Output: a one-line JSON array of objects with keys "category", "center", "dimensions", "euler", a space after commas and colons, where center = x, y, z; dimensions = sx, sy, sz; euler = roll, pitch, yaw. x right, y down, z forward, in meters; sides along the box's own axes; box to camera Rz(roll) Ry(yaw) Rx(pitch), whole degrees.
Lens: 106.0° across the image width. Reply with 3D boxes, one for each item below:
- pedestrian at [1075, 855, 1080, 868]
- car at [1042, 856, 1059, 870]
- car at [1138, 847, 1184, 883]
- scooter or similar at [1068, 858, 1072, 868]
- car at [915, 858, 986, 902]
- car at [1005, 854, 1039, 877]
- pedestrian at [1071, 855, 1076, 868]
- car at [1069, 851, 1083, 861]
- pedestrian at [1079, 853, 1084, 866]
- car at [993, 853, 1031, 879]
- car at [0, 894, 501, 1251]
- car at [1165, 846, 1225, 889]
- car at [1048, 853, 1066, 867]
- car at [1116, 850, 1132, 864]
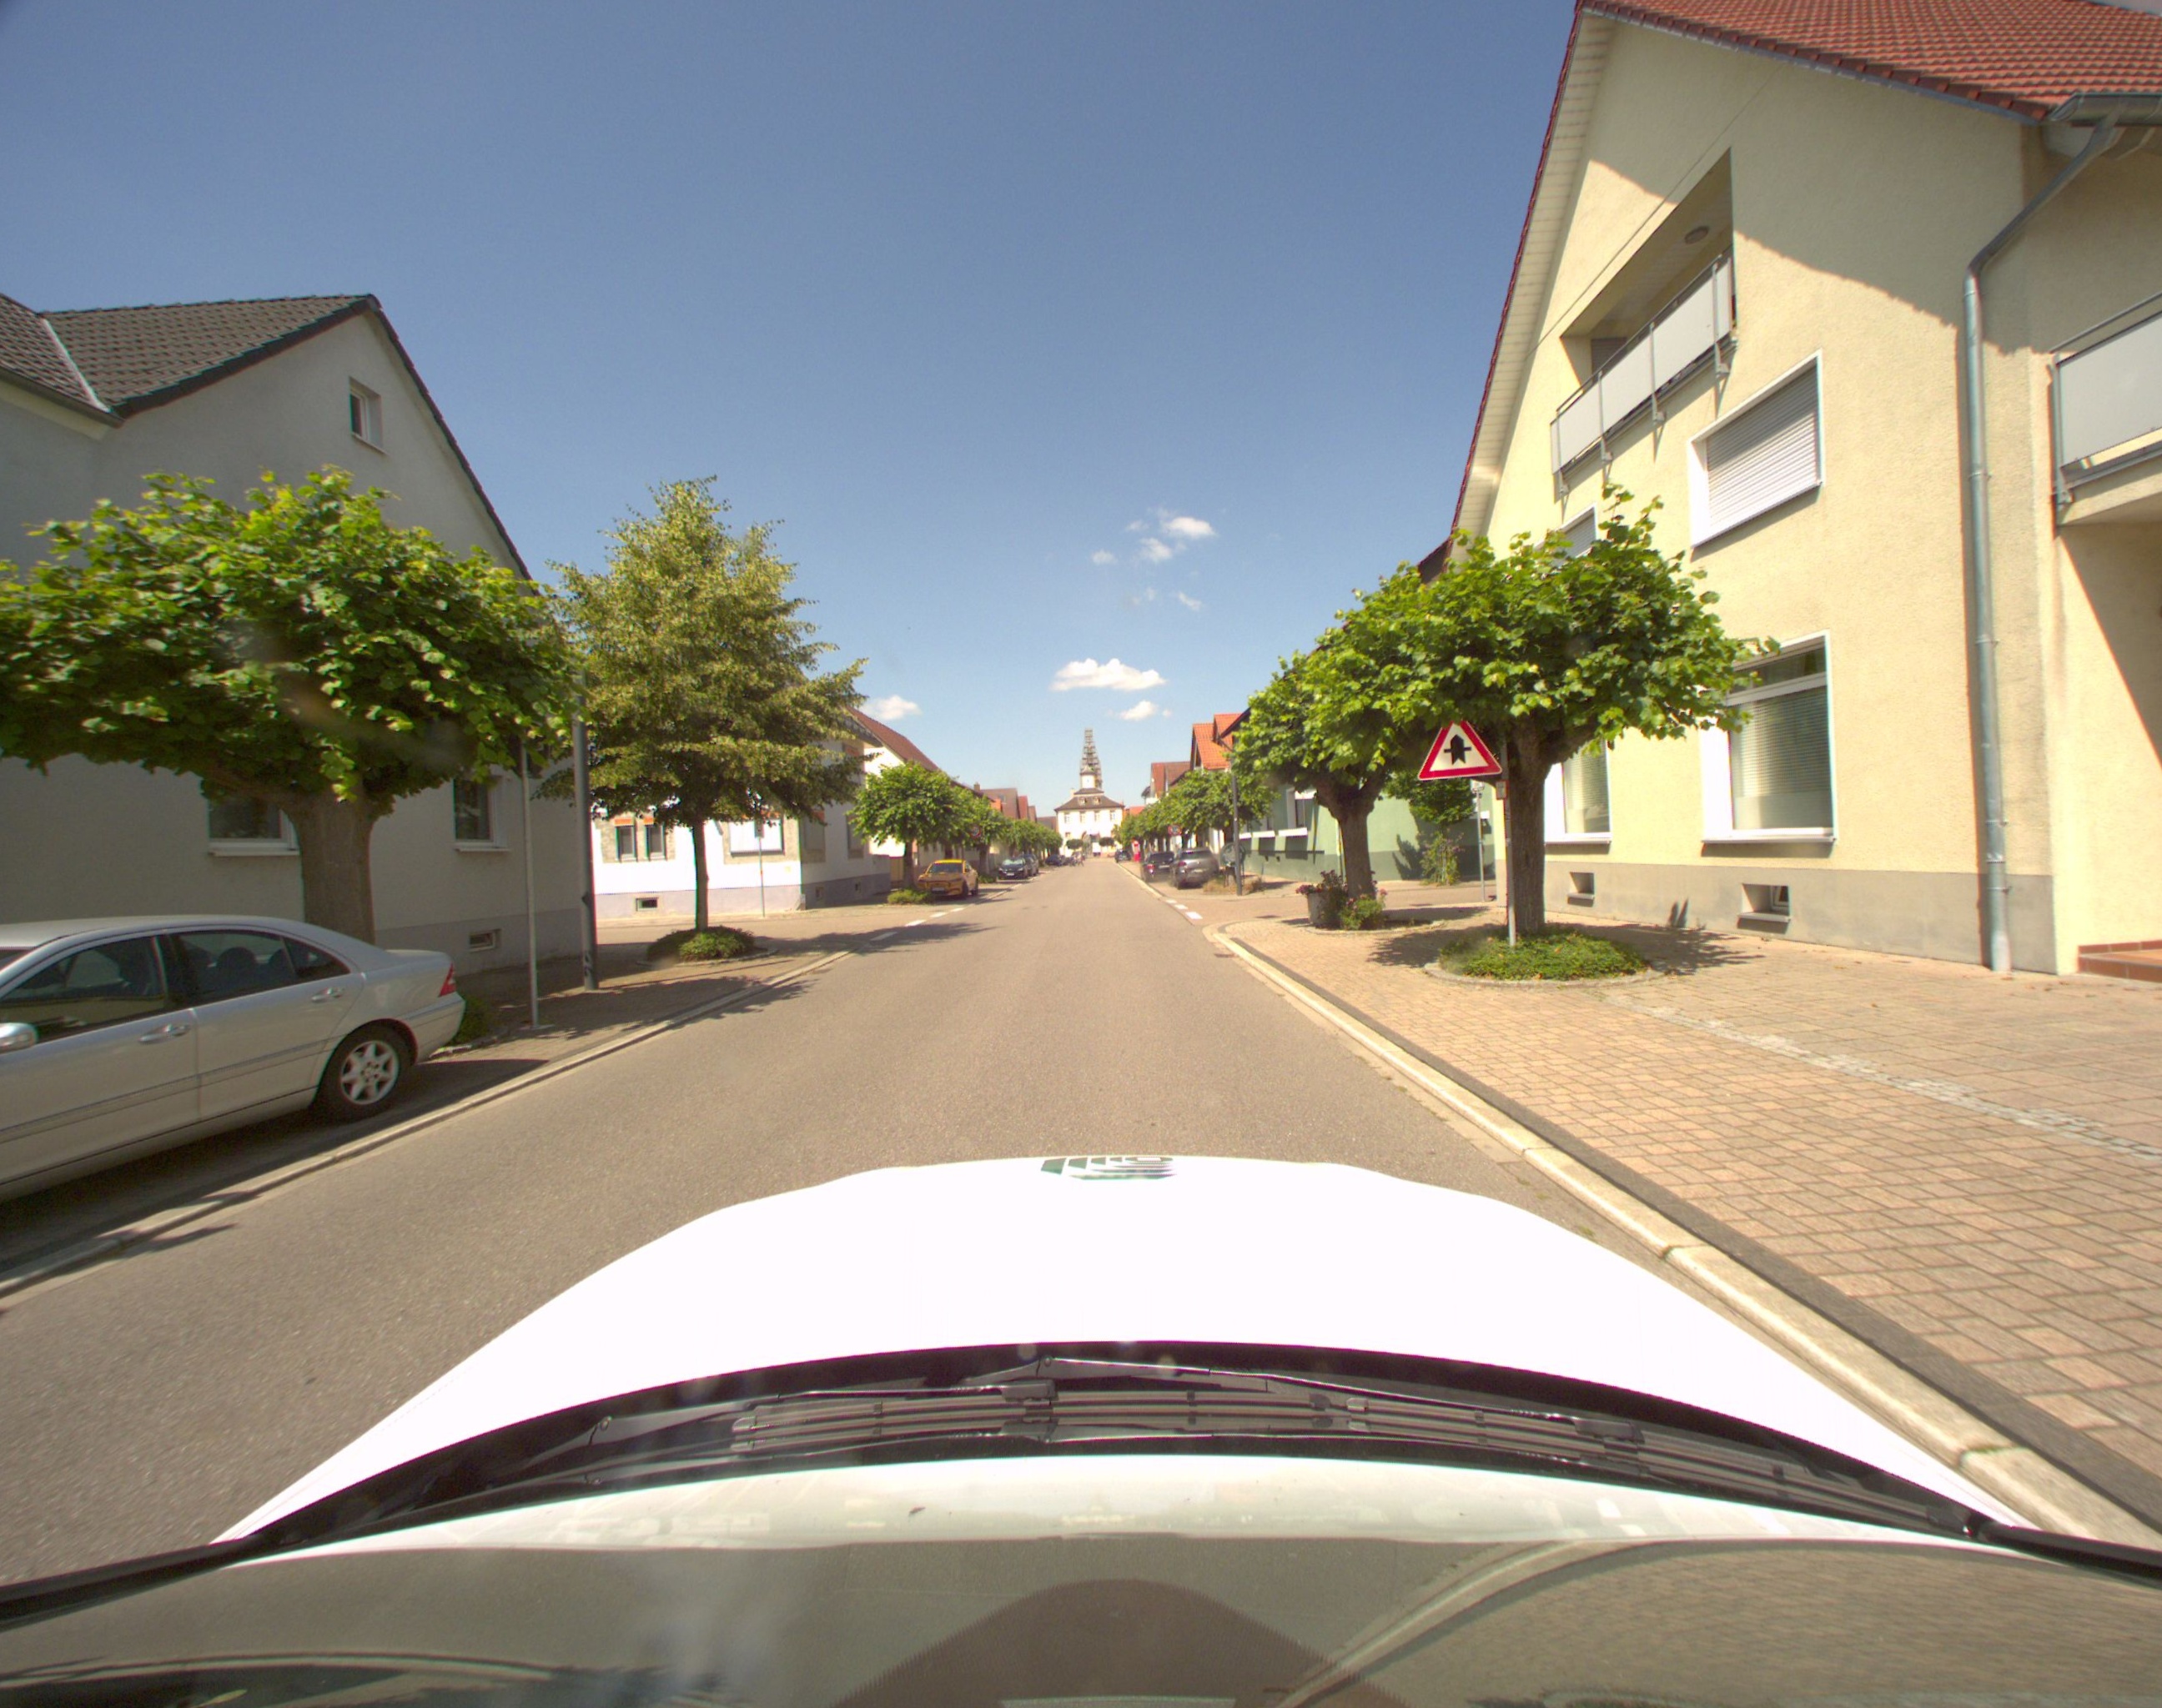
[{"category": "pedestrian", "center": [-0.393, 0.799, 89.977], "dimensions": [0.354, 1.403, 0.322], "euler": [-3, 0, 38]}, {"category": "car", "center": [-3.637, 1.041, 98.323], "dimensions": [1.751, 1.555, 4.021], "euler": [-3, 0, 2]}, {"category": "car", "center": [3.984, 0.533, 41.093], "dimensions": [1.831, 1.555, 4.314], "euler": [-4, 0, 1]}, {"category": "scooter or similar", "center": [-1.215, 1.005, 89.806], "dimensions": [0.326, 1.003, 0.243], "euler": [-3, 0, 38]}, {"category": "car", "center": [-5.348, 1.020, 33.921], "dimensions": [1.986, 1.611, 4.691], "euler": [-1, 0, 2]}, {"category": "car", "center": [-4.384, 0.831, 60.986], "dimensions": [1.986, 1.611, 4.691], "euler": [-1, -1, 2]}, {"category": "pedestrian", "center": [-0.817, 0.803, 89.674], "dimensions": [0.354, 1.403, 0.322], "euler": [-3, 0, 38]}, {"category": "car", "center": [-0.831, 0.354, 133.483], "dimensions": [1.989, 1.611, 4.500], "euler": [-1, -1, -3]}, {"category": "pedestrian", "center": [0.053, 0.618, 89.103], "dimensions": [0.354, 1.403, 0.322], "euler": [-3, 0, 38]}, {"category": "car", "center": [-4.604, 0.773, 55.252], "dimensions": [1.986, 1.611, 4.691], "euler": [-1, 1, 2]}, {"category": "car", "center": [-5.597, 1.050, 4.295], "dimensions": [1.834, 1.396, 4.406], "euler": [-2, 0, 1]}, {"category": "car", "center": [4.595, 0.519, 33.393], "dimensions": [1.832, 1.607, 3.999], "euler": [-3, 0, 0]}, {"category": "car", "center": [-3.020, 0.778, 104.062], "dimensions": [1.986, 1.611, 3.857], "euler": [-1, -1, 2]}, {"category": "car", "center": [5.455, 0.359, 104.175], "dimensions": [1.830, 1.555, 4.315], "euler": [-4, 0, 2]}]
